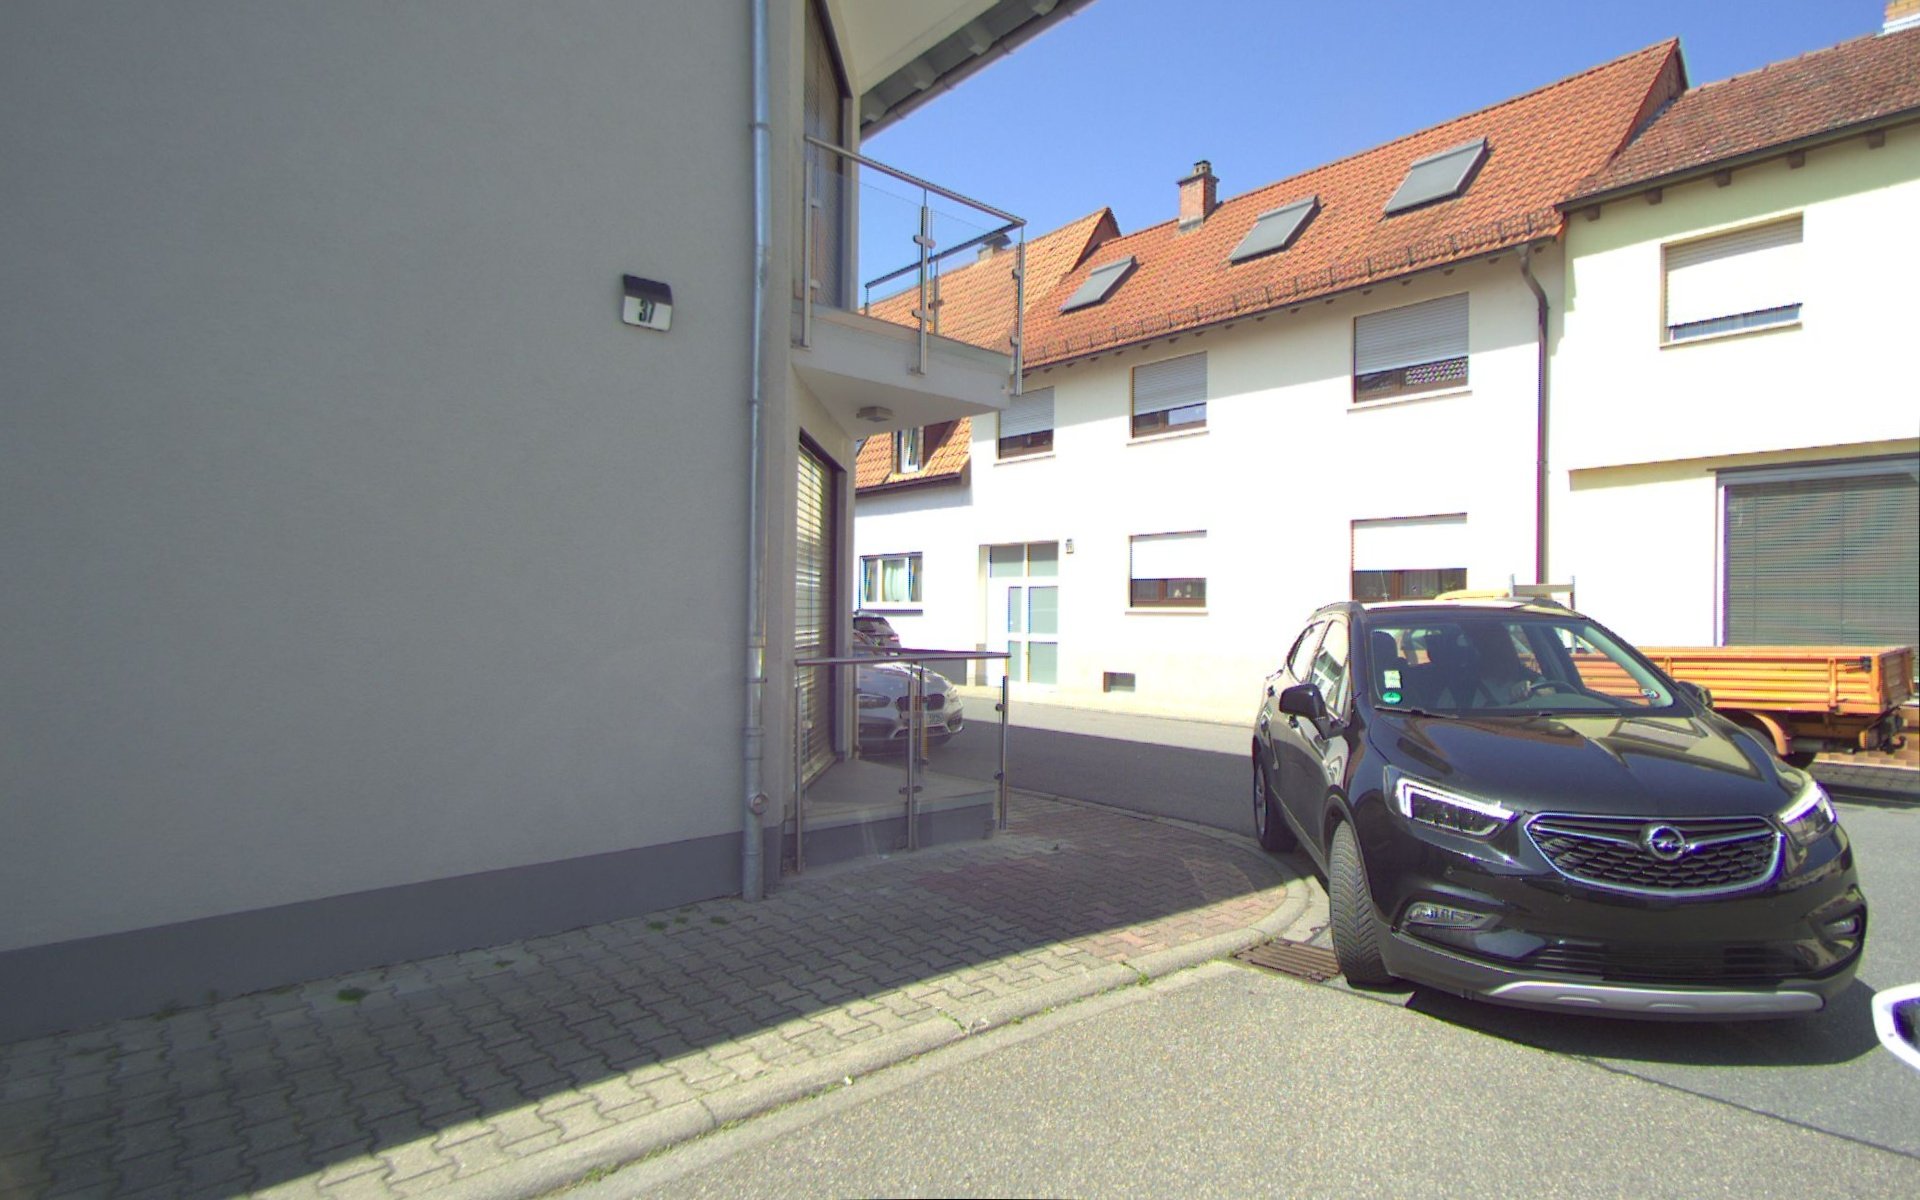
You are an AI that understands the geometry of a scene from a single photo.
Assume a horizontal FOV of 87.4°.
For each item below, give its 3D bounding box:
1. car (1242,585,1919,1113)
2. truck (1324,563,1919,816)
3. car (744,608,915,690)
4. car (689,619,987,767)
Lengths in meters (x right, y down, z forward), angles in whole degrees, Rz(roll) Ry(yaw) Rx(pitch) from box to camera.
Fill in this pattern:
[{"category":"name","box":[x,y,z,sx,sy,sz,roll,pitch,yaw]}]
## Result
[{"category":"car","box":[2.624,0.801,5.276,1.726,1.604,4.284,-1,-1,9]},{"category":"truck","box":[6.775,0.730,10.739,2.172,2.040,5.020,2,-1,-40]},{"category":"car","box":[-2.955,1.012,22.140,1.837,1.635,3.951,2,-1,-42]},{"category":"car","box":[-1.607,0.986,12.199,1.627,1.387,3.877,-1,1,-43]}]
